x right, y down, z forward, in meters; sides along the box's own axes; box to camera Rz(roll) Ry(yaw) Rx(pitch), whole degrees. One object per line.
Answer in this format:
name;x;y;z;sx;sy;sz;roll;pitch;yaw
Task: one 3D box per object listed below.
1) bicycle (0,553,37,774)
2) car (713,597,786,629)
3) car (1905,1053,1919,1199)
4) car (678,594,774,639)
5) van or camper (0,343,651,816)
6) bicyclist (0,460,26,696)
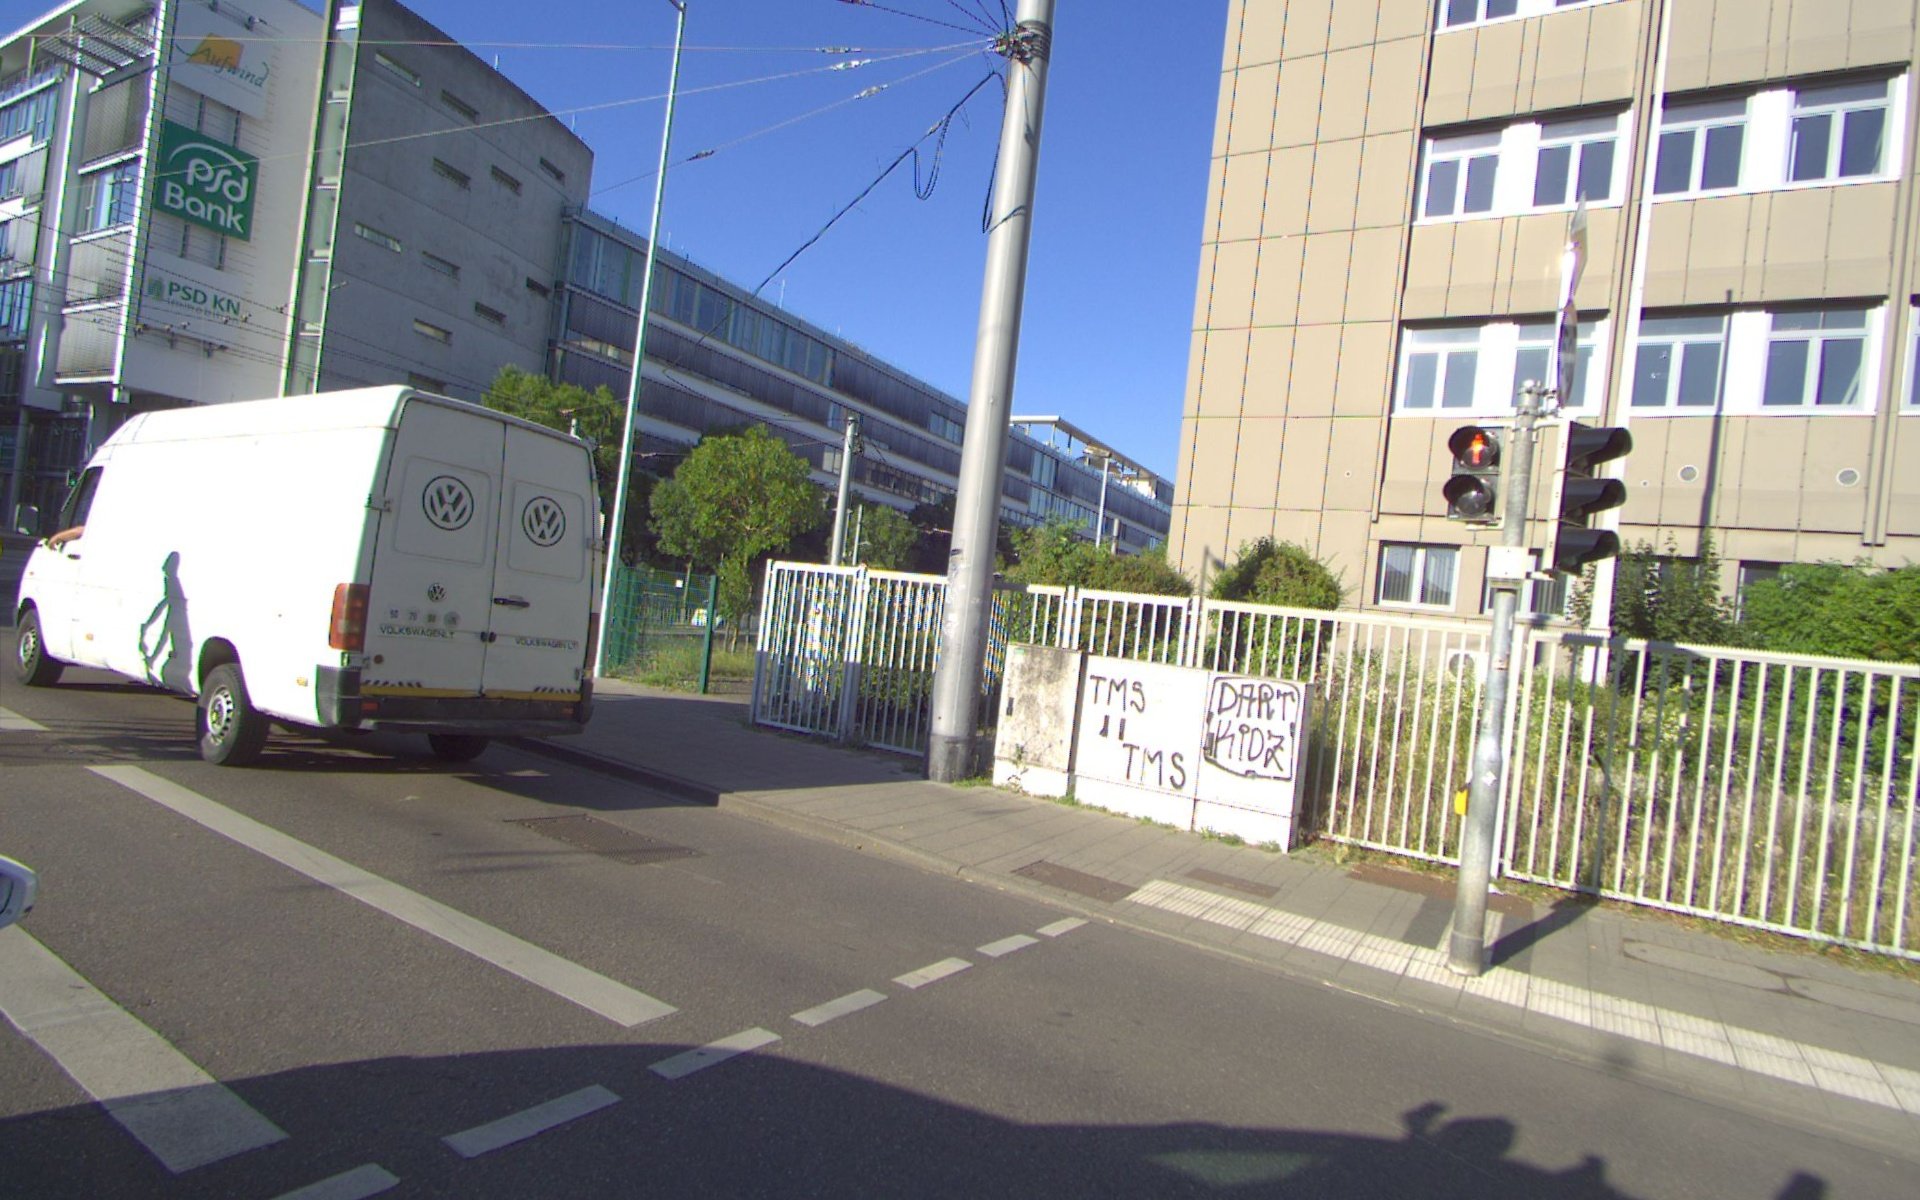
bicycle;-6.648;0.303;6.434;1.936;1.296;0.650;6;-1;36
car;-13.235;0.842;63.544;1.954;1.512;4.396;6;-1;30
car;4.669;1.503;1.775;4.008;1.405;1.704;6;-2;33
car;-10.724;0.790;46.403;1.967;1.631;3.994;6;-2;31
van or camper;-5.557;-0.282;8.336;6.203;2.747;1.972;6;-2;33
bicyclist;-6.637;-0.130;6.445;1.072;1.622;0.650;6;0;36
